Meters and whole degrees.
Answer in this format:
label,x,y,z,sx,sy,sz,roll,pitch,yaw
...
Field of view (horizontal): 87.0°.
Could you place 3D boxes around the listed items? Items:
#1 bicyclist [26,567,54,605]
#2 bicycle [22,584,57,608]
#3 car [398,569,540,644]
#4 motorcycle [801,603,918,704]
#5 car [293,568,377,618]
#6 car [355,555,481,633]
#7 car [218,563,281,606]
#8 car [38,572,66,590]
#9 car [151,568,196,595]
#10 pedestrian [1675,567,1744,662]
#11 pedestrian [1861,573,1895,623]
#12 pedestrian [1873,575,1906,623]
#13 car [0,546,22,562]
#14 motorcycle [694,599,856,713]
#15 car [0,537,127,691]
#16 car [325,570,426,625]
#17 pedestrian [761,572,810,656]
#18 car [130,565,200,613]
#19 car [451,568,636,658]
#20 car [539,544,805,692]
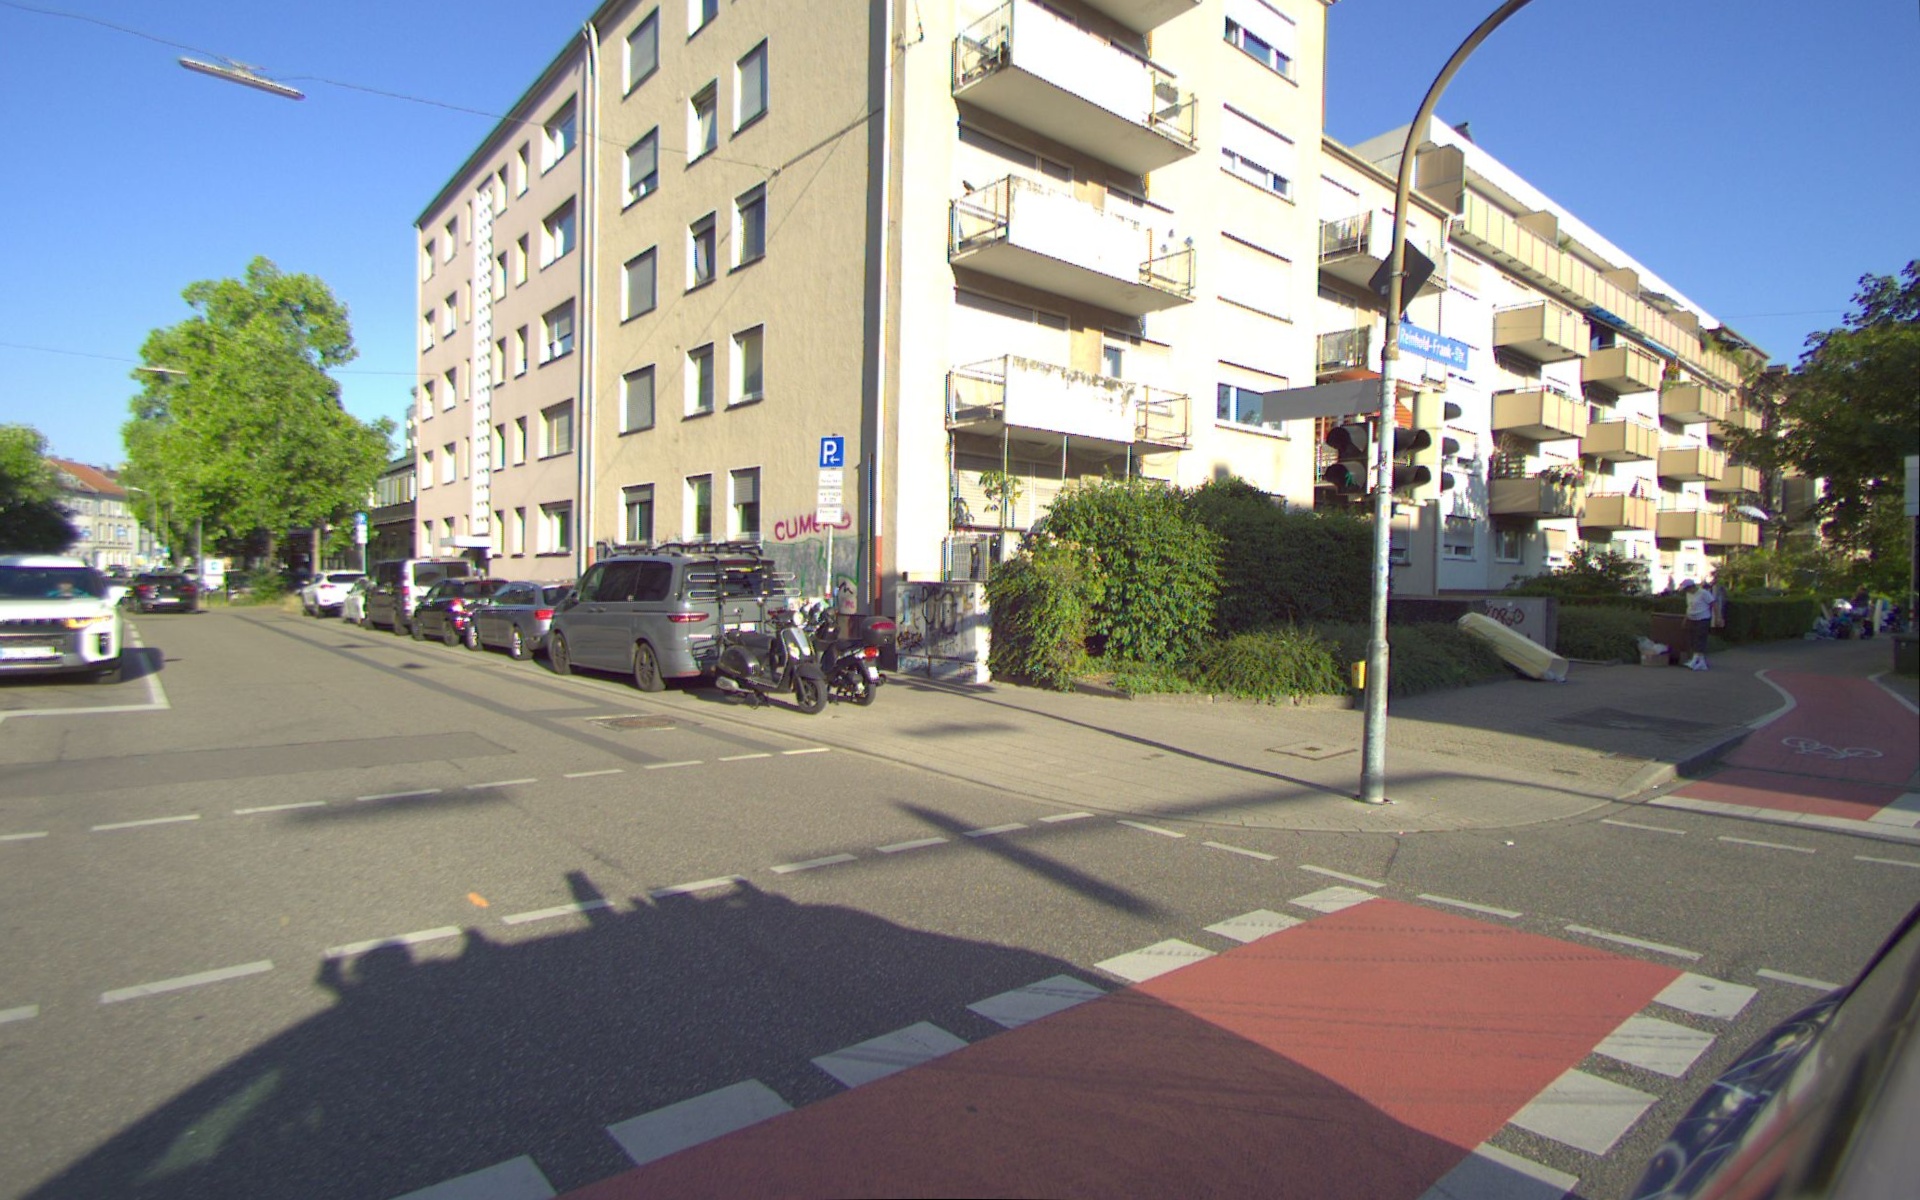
label,x,y,z,sx,sy,sz,roll,pitch,yaw
bicyclist,-37.466,-0.591,41.217,0.730,1.522,0.883,0,1,-35
bicycle,-37.443,-0.175,41.180,0.730,0.933,2.399,0,1,-35
car,-11.559,0.069,23.673,1.920,1.560,4.285,-2,3,-41
motorcycle,-1.264,0.618,12.455,0.584,1.126,1.697,-1,1,-39
car,-22.790,-0.295,36.829,1.919,1.681,4.348,-1,2,-41
car,-14.710,-0.213,27.318,1.919,1.930,5.070,-1,2,-41
car,-32.391,-0.727,46.064,1.919,1.861,4.348,-1,2,-41
car,-80.648,-1.689,89.909,3.644,1.579,1.627,1,2,44
car,-49.709,-1.175,64.030,1.915,1.681,4.357,0,1,-33
pedestrian,13.824,0.243,18.666,0.648,1.703,0.831,0,2,-36
pedestrian,31.968,-0.065,35.246,0.815,1.703,0.660,0,2,-35
pedestrian,33.335,-0.040,36.301,0.815,1.703,0.660,0,2,-35
car,-106.974,-5.150,113.527,1.915,1.681,4.357,0,1,-33
motorcycle,-2.207,0.606,11.951,1.980,1.215,0.764,0,1,38
car,-12.809,0.120,14.004,1.919,1.861,4.349,-1,2,-40
car,-18.287,-0.127,31.593,1.920,1.560,4.285,-2,3,-41
pedestrian,-3.011,0.223,17.467,0.584,1.409,0.641,-1,1,-41
car,-29.410,-0.443,37.550,1.917,1.681,4.354,-1,2,-37
car,-8.354,0.162,20.066,1.920,1.560,4.614,-2,3,-42
car,-4.511,0.149,15.352,1.920,1.889,4.835,-2,3,-42
